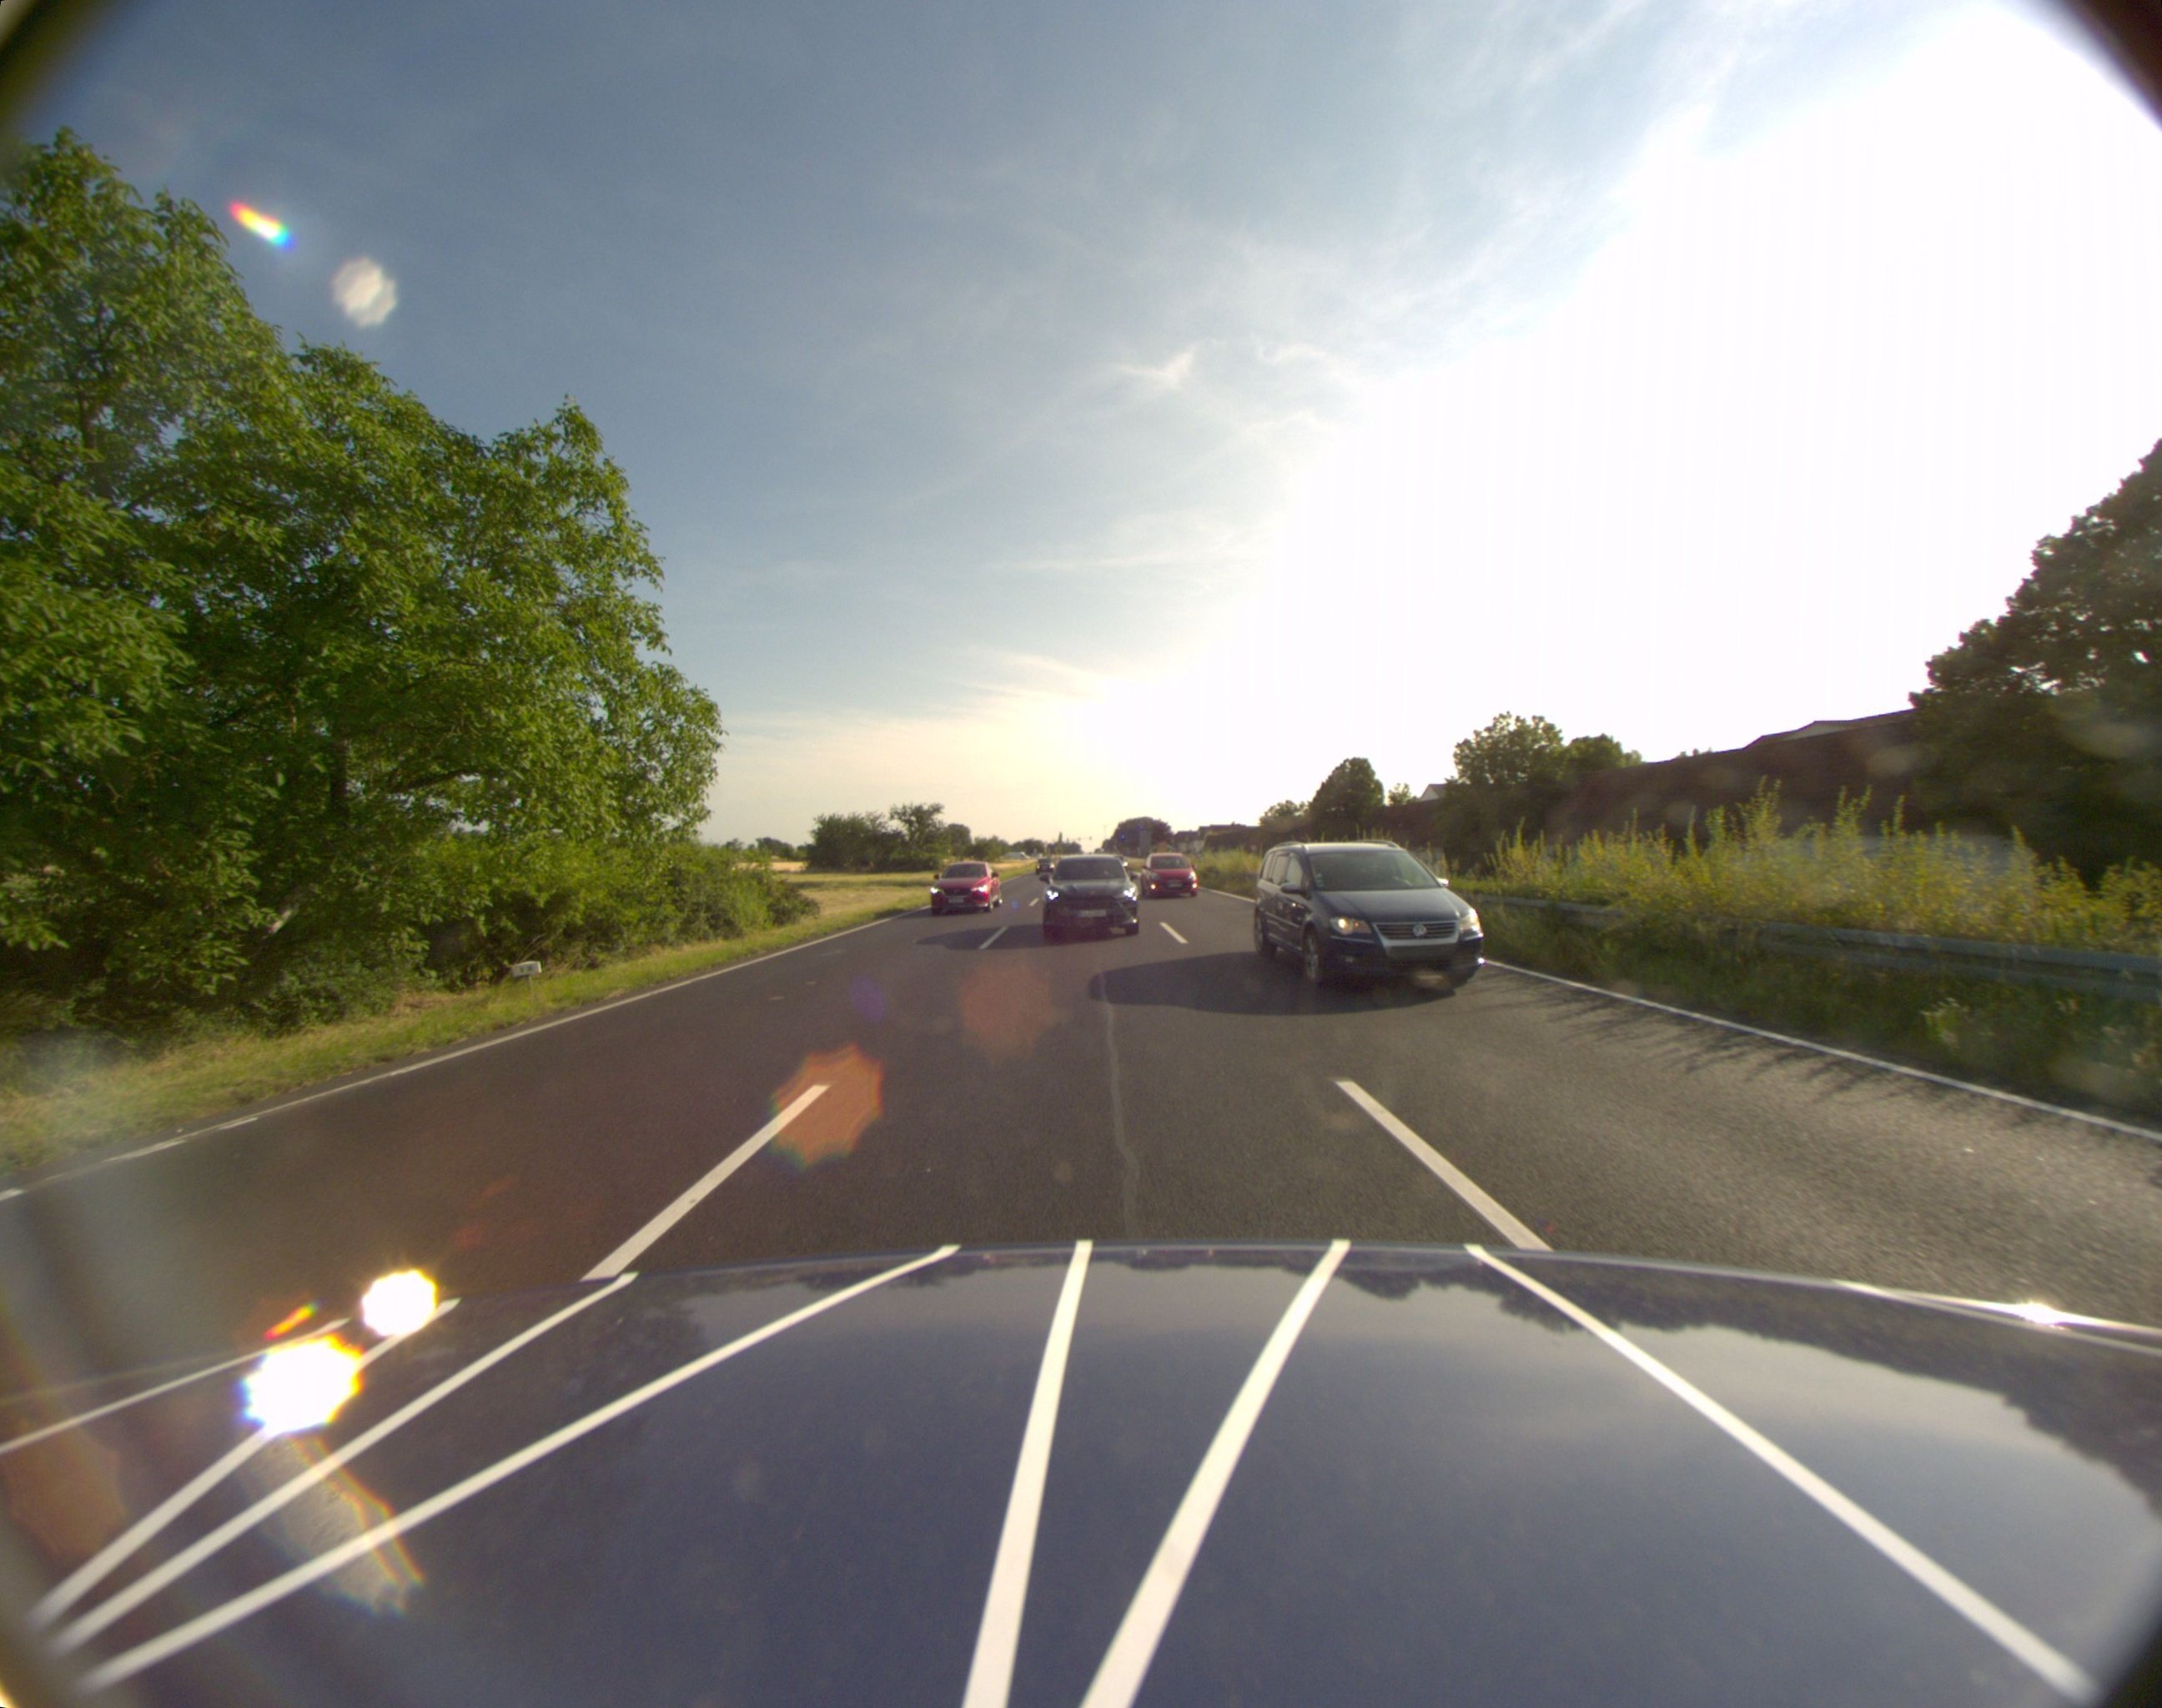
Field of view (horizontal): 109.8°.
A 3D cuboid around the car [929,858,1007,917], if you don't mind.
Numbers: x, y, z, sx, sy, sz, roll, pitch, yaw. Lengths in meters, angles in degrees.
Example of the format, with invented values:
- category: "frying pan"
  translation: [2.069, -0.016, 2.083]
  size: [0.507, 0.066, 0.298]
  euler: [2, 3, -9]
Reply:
- category: "car"
  translation: [-3.423, 0.964, 23.808]
  size: [1.708, 1.497, 4.500]
  euler: [-2, 1, 0]

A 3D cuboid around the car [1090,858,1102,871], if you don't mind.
- category: "car"
  translation: [2.399, 1.662, 124.371]
  size: [1.918, 1.871, 3.999]
  euler: [-2, 1, 1]

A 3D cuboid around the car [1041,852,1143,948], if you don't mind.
- category: "car"
  translation: [0.238, 0.830, 15.872]
  size: [1.791, 1.594, 4.339]
  euler: [-2, 1, 1]

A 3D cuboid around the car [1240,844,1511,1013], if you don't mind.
- category: "car"
  translation: [3.411, 0.712, 9.873]
  size: [1.777, 1.612, 4.681]
  euler: [-1, 1, 1]

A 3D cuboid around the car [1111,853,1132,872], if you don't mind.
- category: "car"
  translation: [3.606, 0.723, 68.520]
  size: [1.719, 1.521, 3.999]
  euler: [-2, 1, 1]

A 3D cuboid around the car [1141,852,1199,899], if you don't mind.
- category: "car"
  translation: [3.278, 0.760, 28.745]
  size: [1.748, 1.537, 3.999]
  euler: [-2, 1, 1]

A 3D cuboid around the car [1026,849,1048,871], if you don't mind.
- category: "car"
  translation: [-4.317, 0.583, 74.813]
  size: [1.999, 2.002, 3.998]
  euler: [-2, 1, -2]

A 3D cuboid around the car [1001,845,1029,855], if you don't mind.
- category: "car"
  translation: [-18.262, -1.061, 210.487]
  size: [7.202, 2.654, 2.094]
  euler: [0, 2, 14]

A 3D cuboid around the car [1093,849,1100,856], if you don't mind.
- category: "car"
  translation: [4.910, -0.575, 241.969]
  size: [1.998, 2.002, 3.999]
  euler: [-2, 1, 1]
